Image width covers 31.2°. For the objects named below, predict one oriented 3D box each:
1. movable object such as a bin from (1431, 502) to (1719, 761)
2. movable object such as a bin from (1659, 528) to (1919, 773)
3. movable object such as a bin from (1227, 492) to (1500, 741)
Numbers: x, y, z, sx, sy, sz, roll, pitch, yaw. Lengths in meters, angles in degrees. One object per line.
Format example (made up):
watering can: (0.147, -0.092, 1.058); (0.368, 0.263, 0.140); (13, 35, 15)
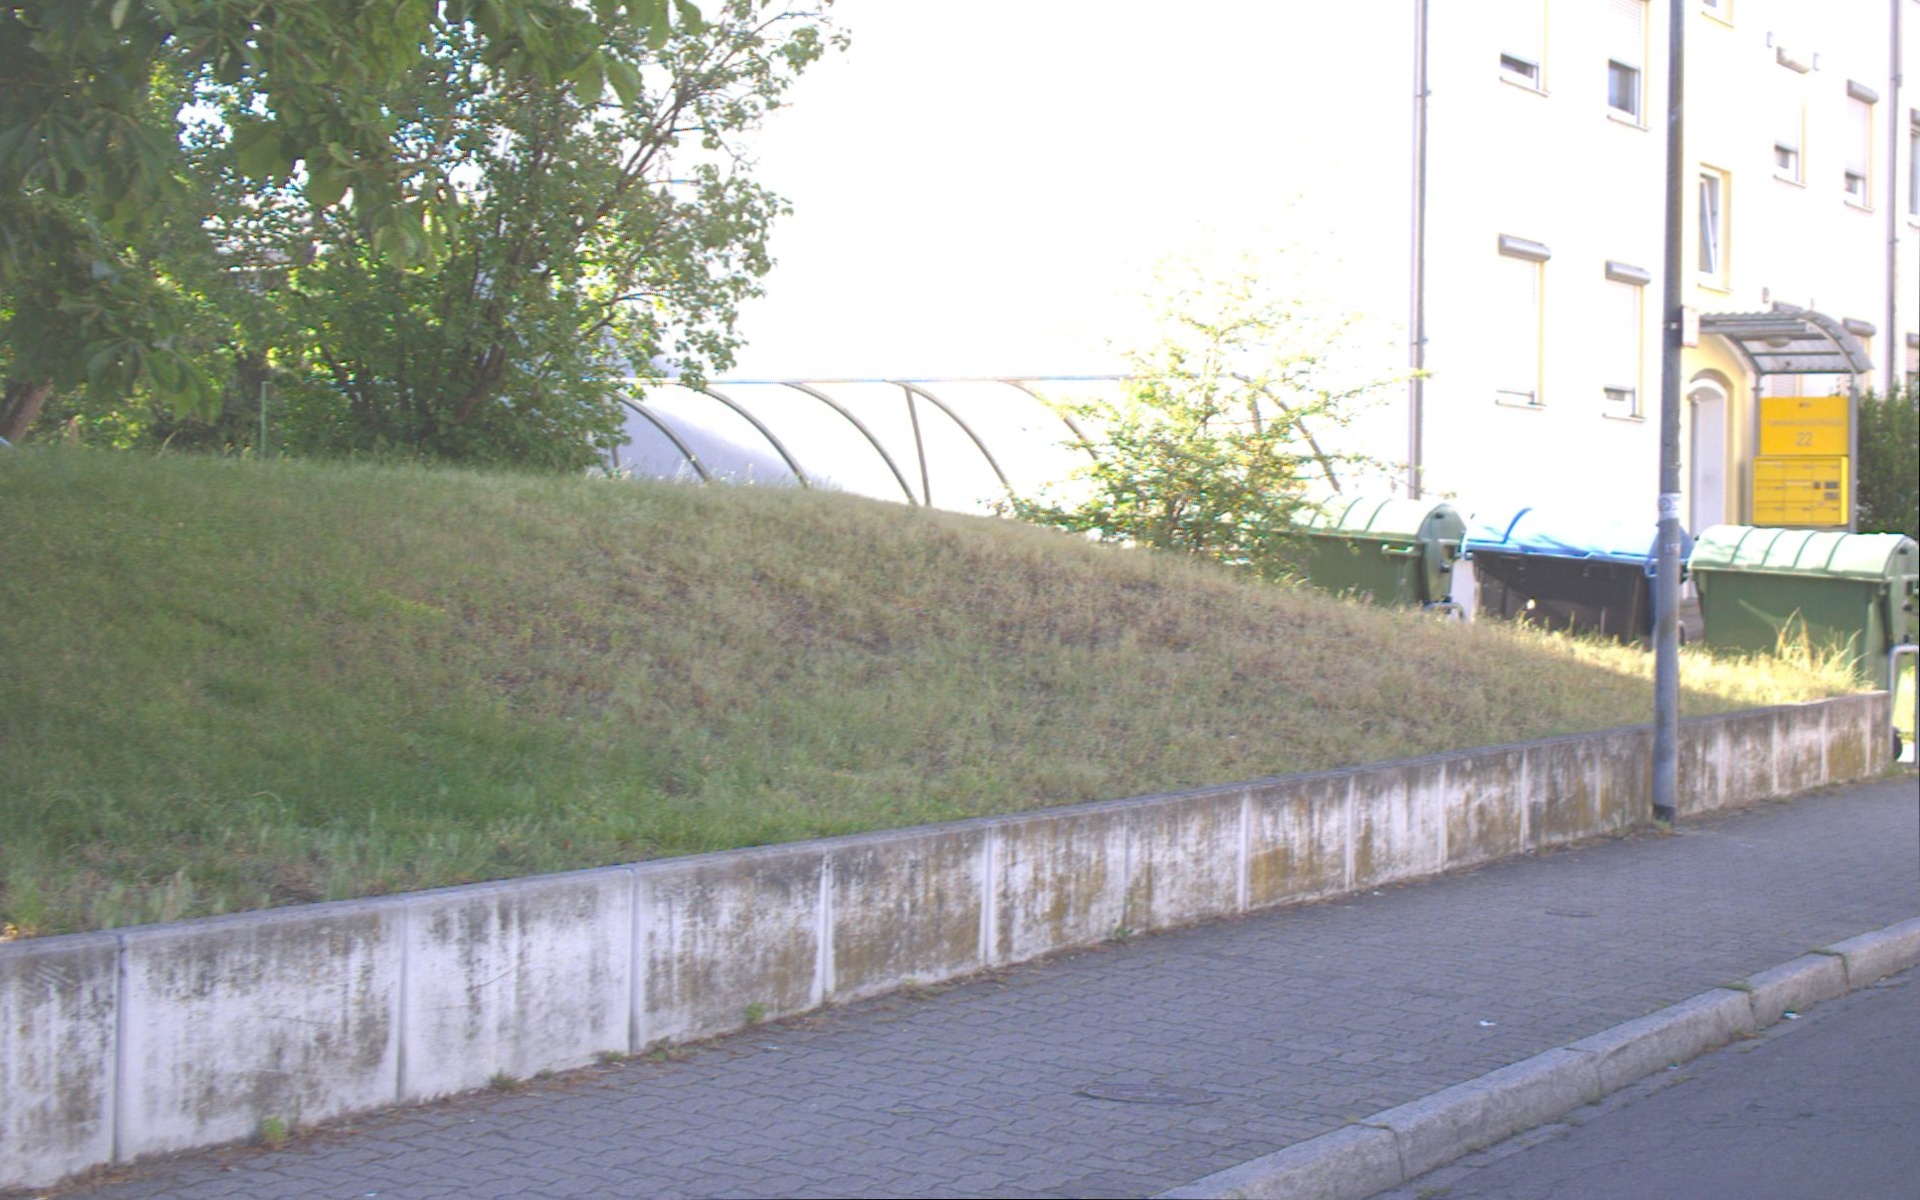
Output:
movable object such as a bin: (4.036, 0.179, 22.516); (1.501, 1.617, 1.261); (1, 1, 30)
movable object such as a bin: (5.380, 0.294, 21.850); (1.494, 1.473, 1.263); (1, 1, 30)
movable object such as a bin: (2.733, 0.089, 23.223); (1.461, 1.608, 1.189); (1, 1, 30)
